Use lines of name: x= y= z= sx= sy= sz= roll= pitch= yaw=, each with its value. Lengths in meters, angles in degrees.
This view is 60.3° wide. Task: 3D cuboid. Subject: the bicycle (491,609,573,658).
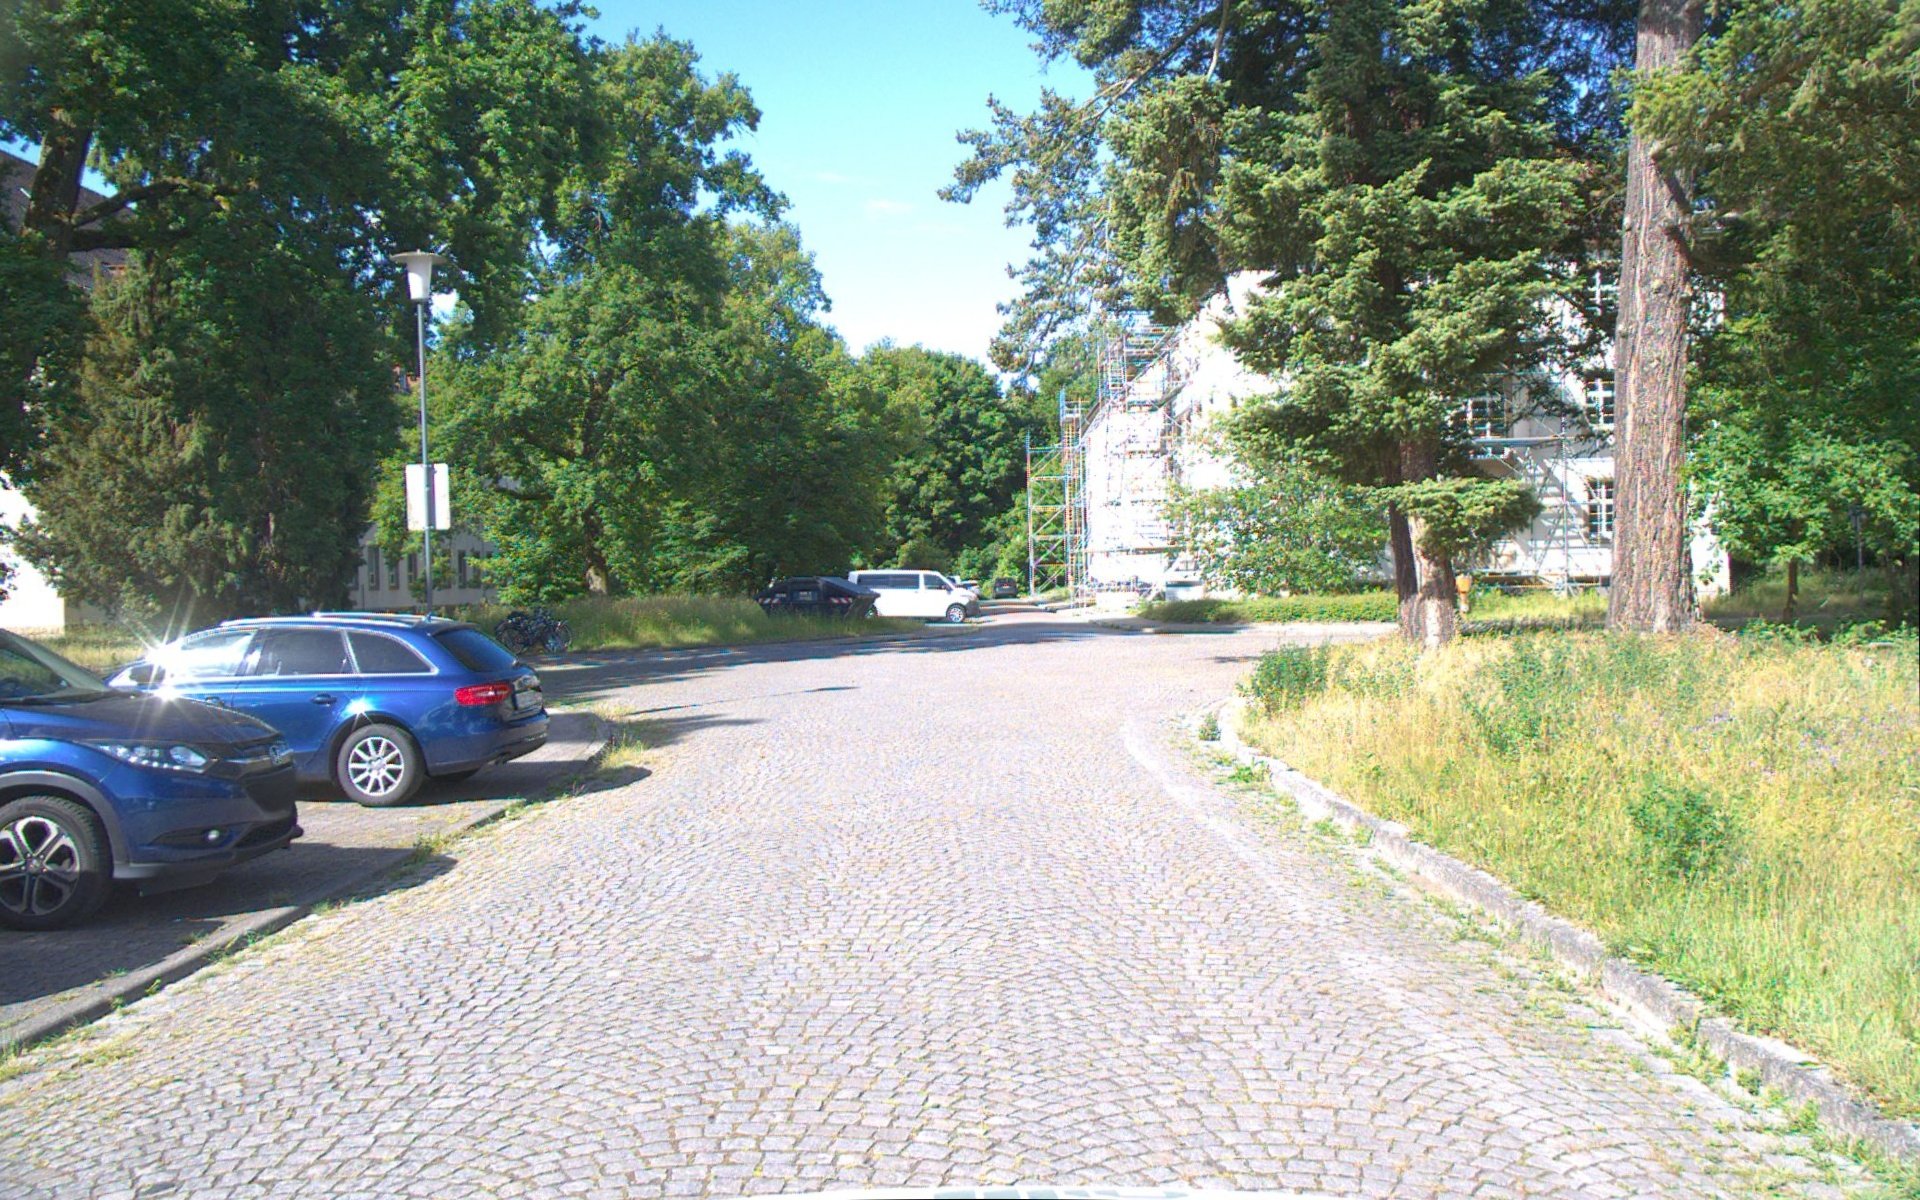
bicycle: x=-10.871 y=0.845 z=42.040 sx=1.893 sy=1.076 sz=0.471 roll=-5 pitch=2 yaw=-30

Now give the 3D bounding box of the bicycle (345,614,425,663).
bicycle: x=-14.853 y=0.977 z=42.742 sx=1.888 sy=1.122 sz=0.566 roll=-3 pitch=2 yaw=-25

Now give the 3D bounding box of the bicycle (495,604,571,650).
bicycle: x=-11.604 y=0.731 z=44.936 sx=1.888 sy=1.076 sz=0.472 roll=-5 pitch=1 yaw=-23

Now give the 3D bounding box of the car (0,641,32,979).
car: x=-6.127 y=0.982 z=6.525 sx=3.842 sy=1.457 sz=1.842 roll=-1 pitch=1 yaw=1

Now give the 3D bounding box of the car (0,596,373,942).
car: x=-5.555 y=0.854 z=8.922 sx=4.050 sy=1.607 sz=1.884 roll=-1 pitch=1 yaw=0

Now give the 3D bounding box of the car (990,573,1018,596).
car: x=3.405 y=-1.205 z=128.815 sx=1.931 sy=1.697 sz=4.086 roll=-3 pitch=1 yaw=0

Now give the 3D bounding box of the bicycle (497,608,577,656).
bicycle: x=-10.886 y=0.807 z=42.595 sx=1.893 sy=1.076 sz=0.471 roll=-5 pitch=2 yaw=-30

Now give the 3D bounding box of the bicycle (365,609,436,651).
bicycle: x=-16.310 y=0.872 z=48.242 sx=1.888 sy=1.122 sz=0.566 roll=-2 pitch=2 yaw=-24

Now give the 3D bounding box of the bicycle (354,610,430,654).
bicycle: x=-15.686 y=0.874 z=45.698 sx=1.891 sy=1.122 sz=0.565 roll=-3 pitch=2 yaw=-28

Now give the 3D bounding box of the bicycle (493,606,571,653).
bicycle: x=-11.422 y=0.780 z=44.148 sx=1.888 sy=1.076 sz=0.472 roll=-5 pitch=1 yaw=-23

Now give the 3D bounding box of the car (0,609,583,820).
car: x=-5.497 y=0.889 z=13.606 sx=4.268 sy=1.470 sz=1.922 roll=-1 pitch=1 yaw=3

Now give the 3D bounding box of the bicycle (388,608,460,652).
bicycle: x=-15.158 y=0.837 z=46.784 sx=1.884 sy=1.122 sz=0.567 roll=-2 pitch=2 yaw=-19

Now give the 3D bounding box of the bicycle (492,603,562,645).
bicycle: x=-12.666 y=0.700 z=48.416 sx=1.886 sy=1.076 sz=0.473 roll=-5 pitch=1 yaw=-21

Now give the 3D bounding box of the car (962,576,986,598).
car: x=1.053 y=-1.046 z=128.509 sx=1.775 sy=1.606 sz=4.134 roll=-3 pitch=1 yaw=0

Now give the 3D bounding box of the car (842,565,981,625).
car: x=-1.802 y=-0.209 z=62.491 sx=5.128 sy=2.051 sz=1.950 roll=-2 pitch=1 yaw=-1

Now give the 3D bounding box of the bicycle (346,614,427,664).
bicycle: x=-14.643 y=0.982 z=42.247 sx=1.888 sy=1.122 sz=0.566 roll=-3 pitch=2 yaw=-25

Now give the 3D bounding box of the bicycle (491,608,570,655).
bicycle: x=-11.313 y=0.825 z=43.586 sx=1.888 sy=1.076 sz=0.472 roll=-5 pitch=1 yaw=-23

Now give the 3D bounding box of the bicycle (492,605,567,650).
bicycle: x=-11.903 y=0.762 z=45.748 sx=1.886 sy=1.076 sz=0.473 roll=-5 pitch=1 yaw=-21

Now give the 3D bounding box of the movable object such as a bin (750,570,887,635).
movable object such as a bin: x=-4.220 y=0.068 z=49.390 sx=3.491 sy=1.775 sz=2.026 roll=-2 pitch=1 yaw=19

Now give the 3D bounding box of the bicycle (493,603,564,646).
bicycle: x=-12.508 y=0.700 z=47.978 sx=1.886 sy=1.076 sz=0.473 roll=-5 pitch=1 yaw=-21

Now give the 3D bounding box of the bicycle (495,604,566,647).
bicycle: x=-12.328 y=0.720 z=47.513 sx=1.886 sy=1.076 sz=0.473 roll=-5 pitch=1 yaw=-21

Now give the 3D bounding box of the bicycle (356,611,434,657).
bicycle: x=-15.167 y=0.909 z=44.401 sx=1.891 sy=1.122 sz=0.565 roll=-3 pitch=2 yaw=-28
